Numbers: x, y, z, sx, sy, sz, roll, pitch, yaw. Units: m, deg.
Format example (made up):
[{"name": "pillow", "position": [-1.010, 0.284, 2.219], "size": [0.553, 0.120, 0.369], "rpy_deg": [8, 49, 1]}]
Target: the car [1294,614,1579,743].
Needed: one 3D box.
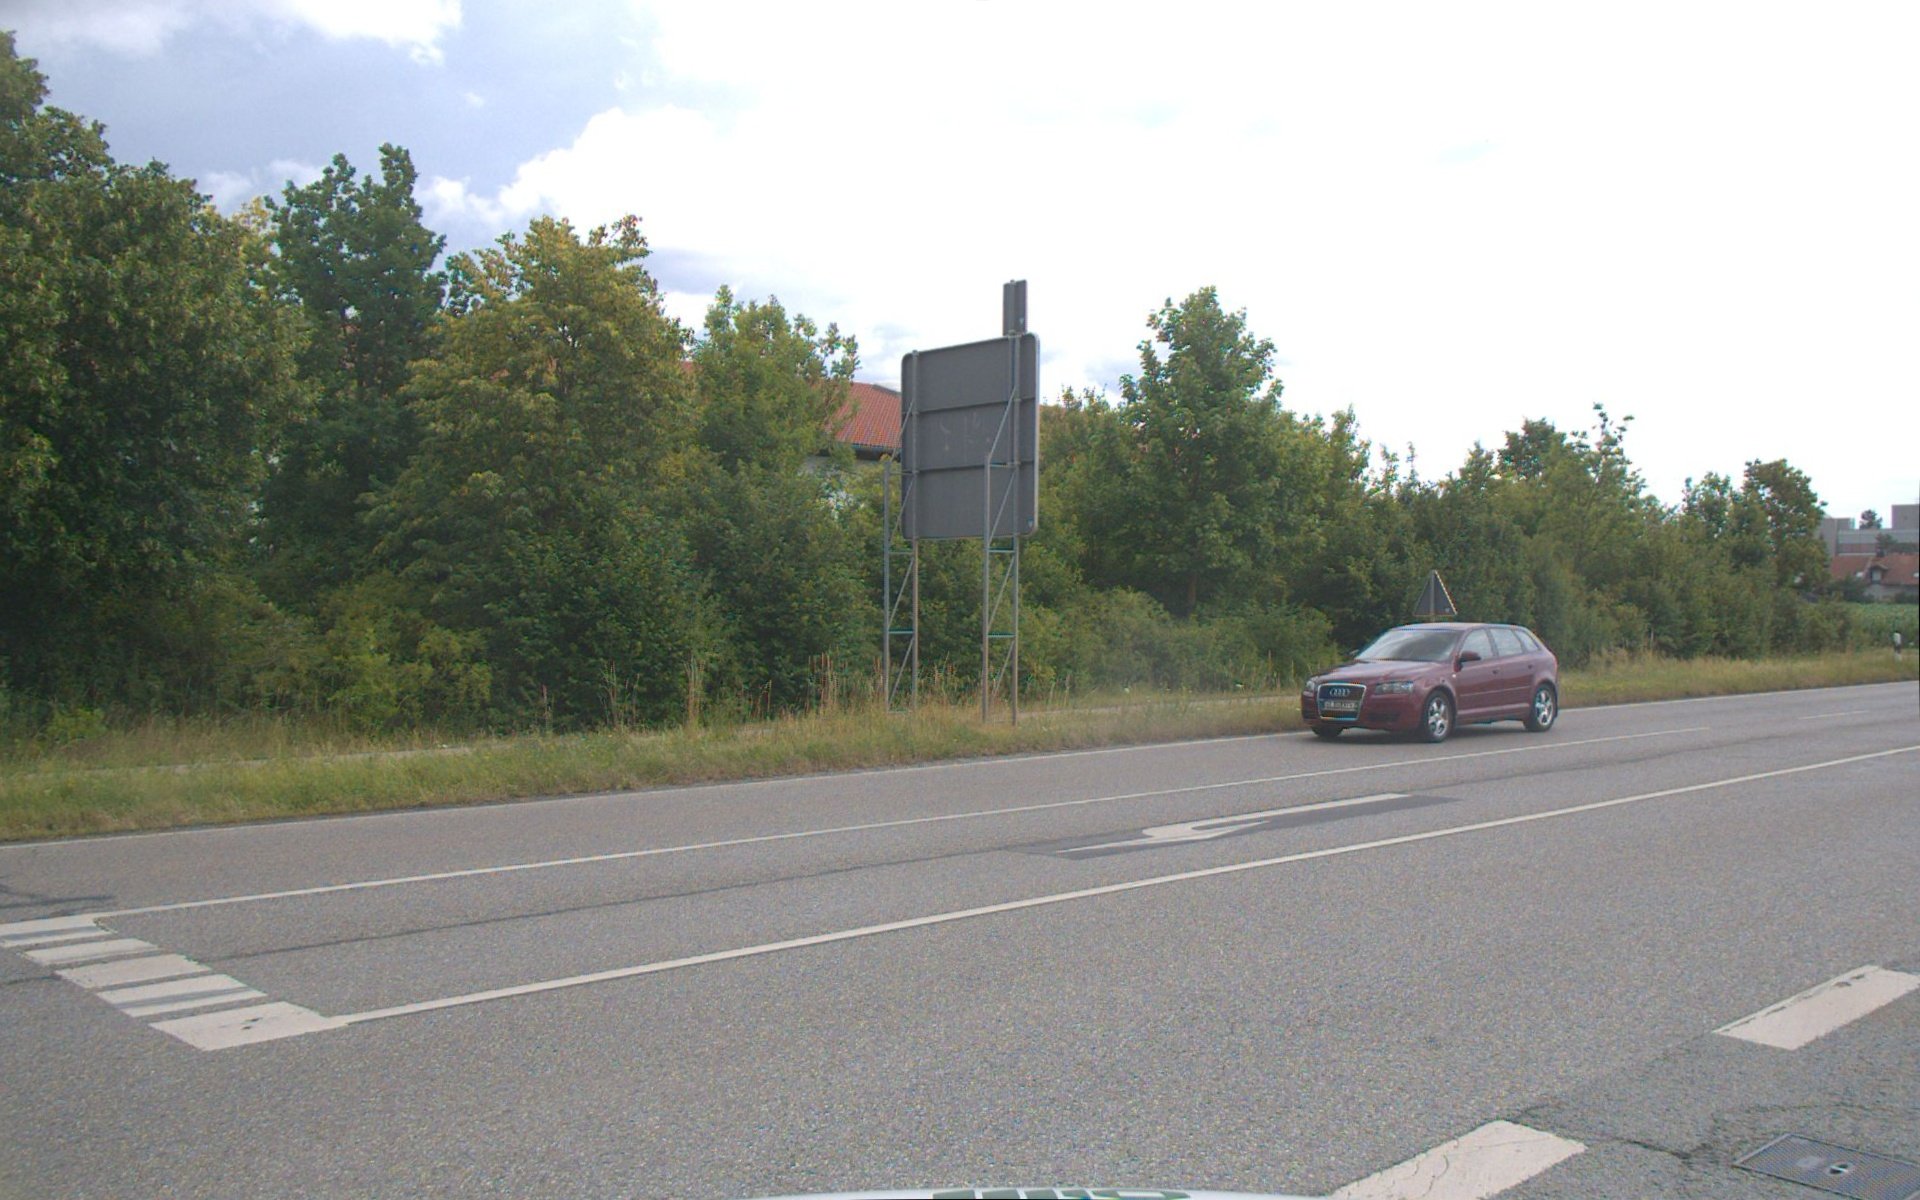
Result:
[{"name": "car", "position": [6.141, 0.931, 21.086], "size": [4.056, 1.426, 1.652], "rpy_deg": [-1, -1, -43]}]
